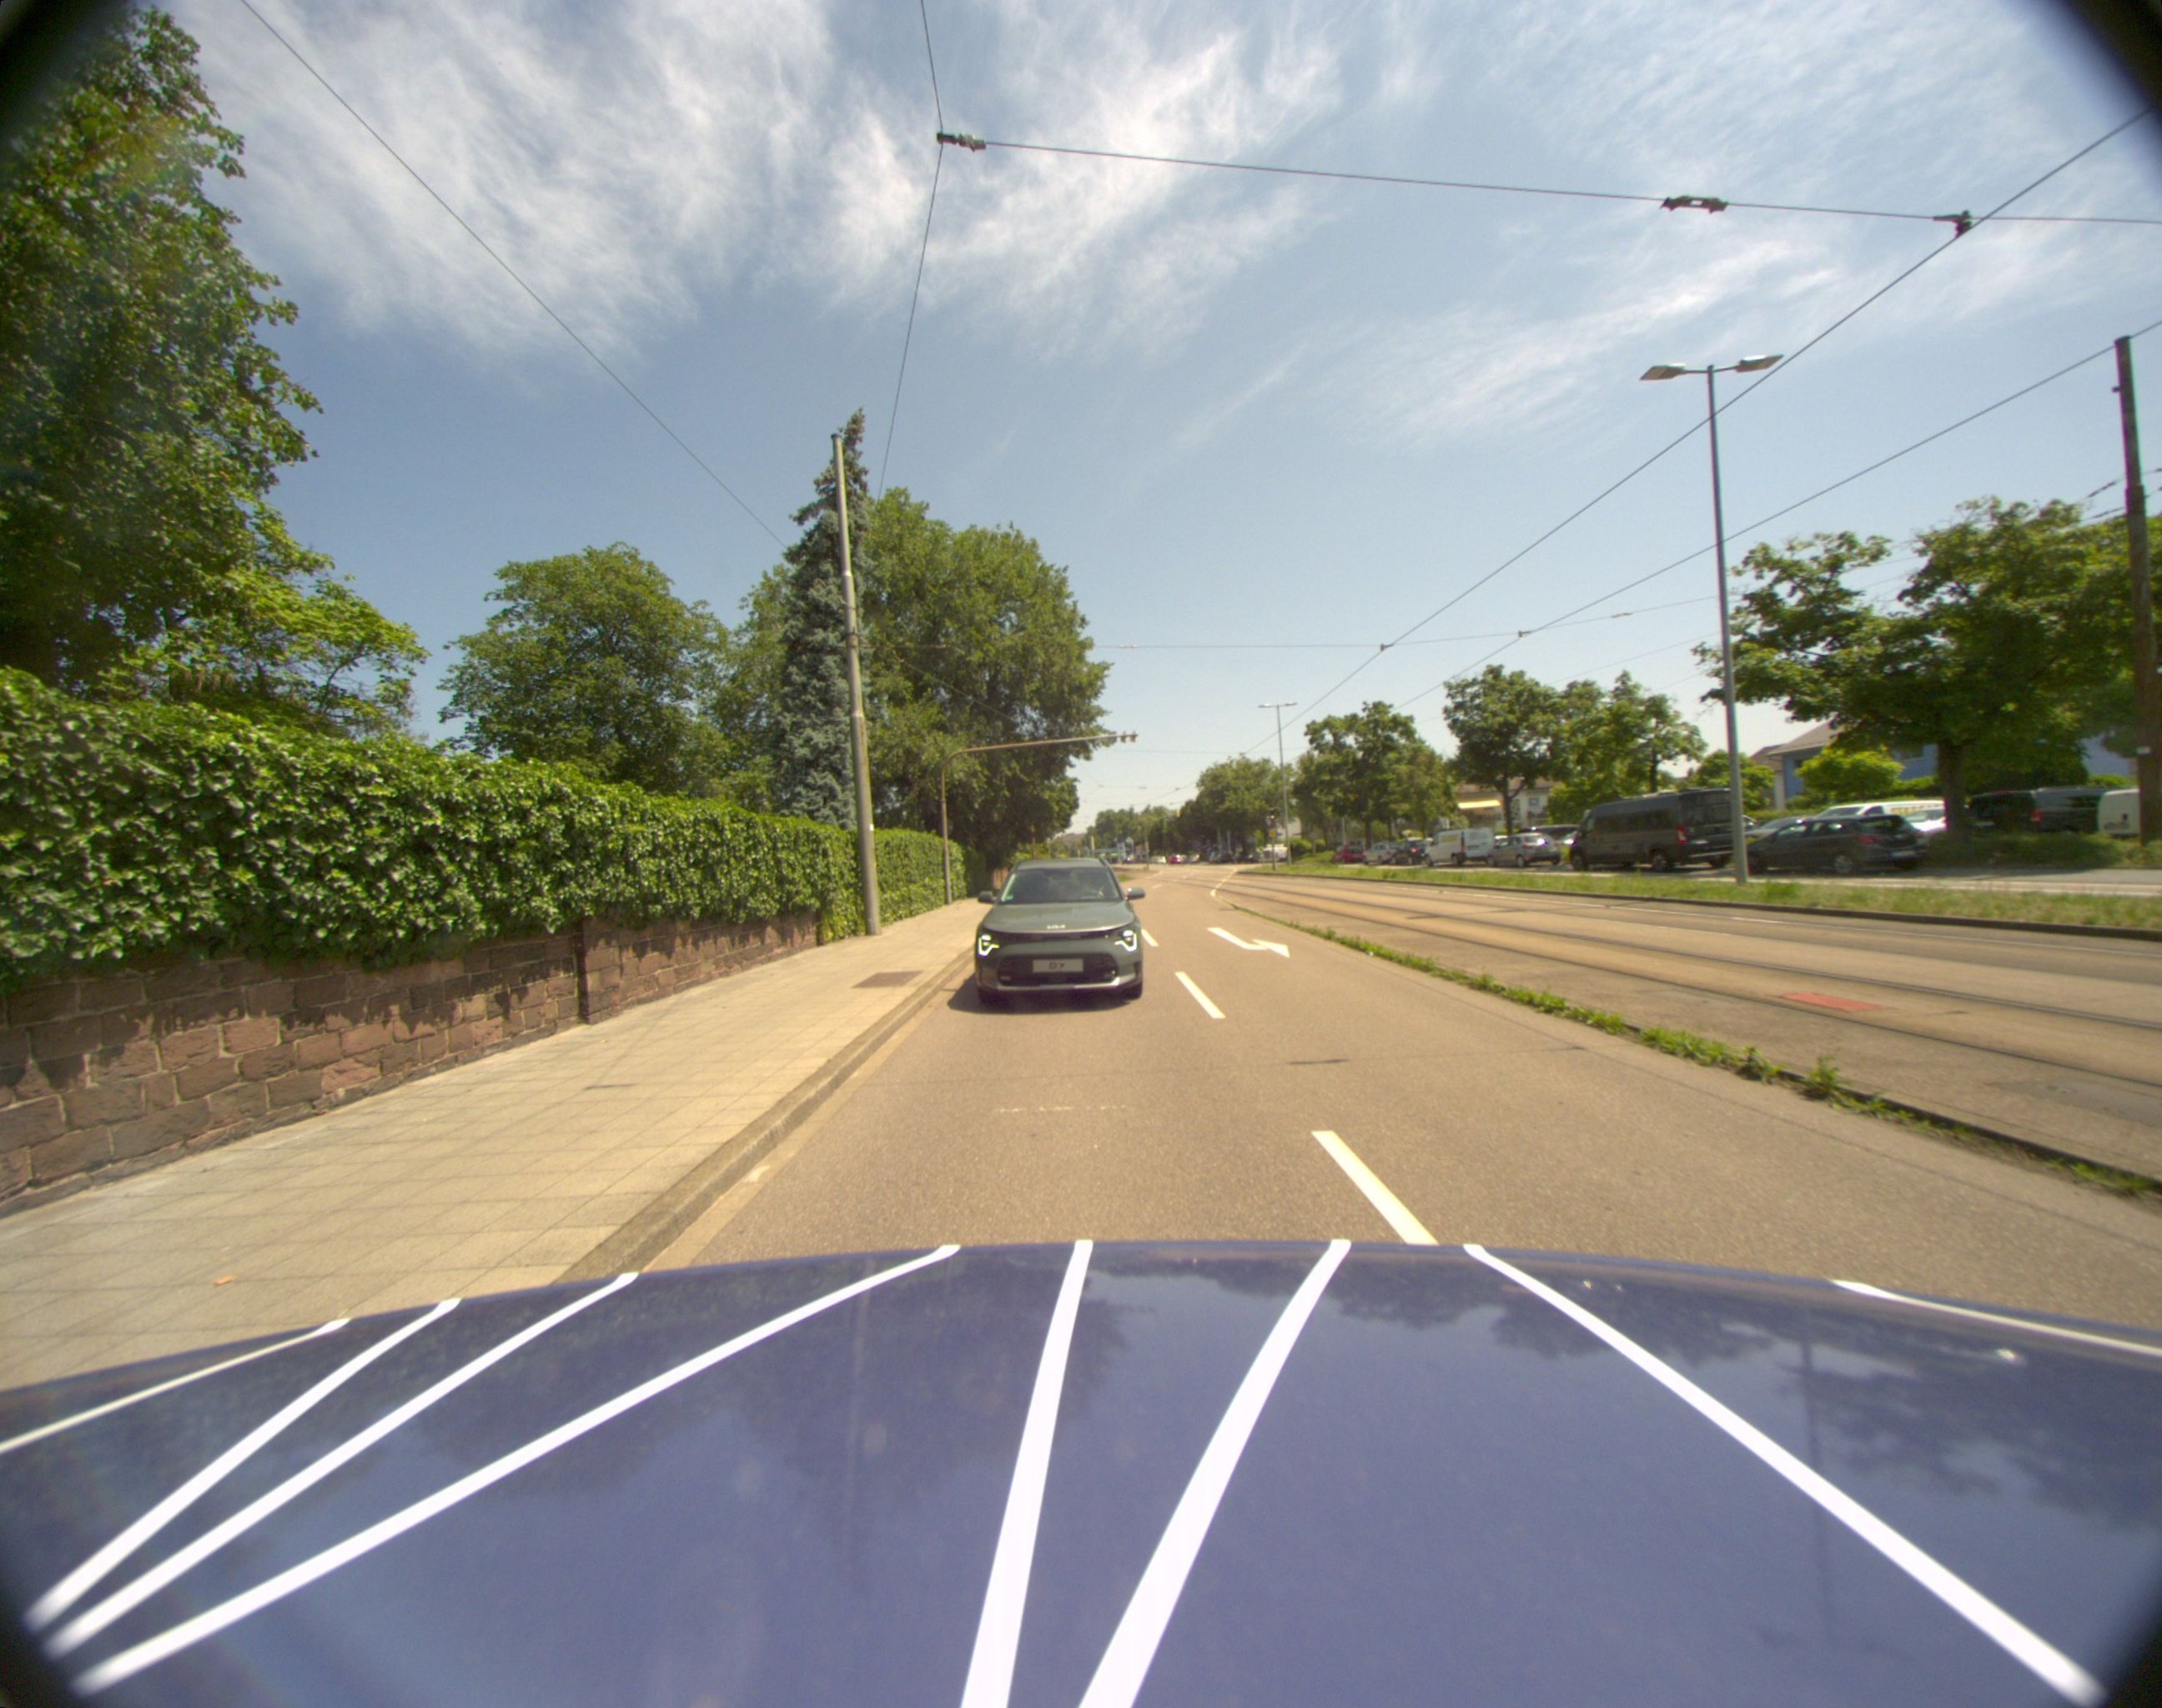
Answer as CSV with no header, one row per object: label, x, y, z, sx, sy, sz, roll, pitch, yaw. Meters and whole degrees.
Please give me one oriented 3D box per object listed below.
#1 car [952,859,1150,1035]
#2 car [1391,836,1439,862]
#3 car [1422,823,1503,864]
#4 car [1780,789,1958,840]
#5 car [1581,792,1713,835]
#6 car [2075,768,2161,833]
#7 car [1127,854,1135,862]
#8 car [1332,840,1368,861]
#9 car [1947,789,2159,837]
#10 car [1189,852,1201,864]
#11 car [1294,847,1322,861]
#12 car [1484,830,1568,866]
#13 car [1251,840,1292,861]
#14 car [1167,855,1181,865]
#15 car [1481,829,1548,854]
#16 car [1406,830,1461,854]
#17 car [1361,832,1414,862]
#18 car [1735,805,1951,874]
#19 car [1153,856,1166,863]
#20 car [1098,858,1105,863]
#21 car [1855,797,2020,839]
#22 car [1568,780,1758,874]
car,-0.314,0.919,9.529,1.824,1.577,4.287,-4,0,-1
car,20.041,-0.320,45.736,1.429,1.470,3.262,-3,1,0
car,20.072,-0.553,40.235,1.924,1.937,4.816,-3,1,2
car,30.761,-1.506,29.759,4.926,1.568,1.999,-4,0,-2
car,30.095,-2.131,40.532,5.434,1.945,2.029,-3,1,2
car,31.201,-1.597,21.482,3.998,1.708,1.797,-4,0,-4
car,12.783,1.129,195.211,1.780,1.907,3.754,-3,1,2
car,20.181,-0.290,57.173,1.582,1.471,3.423,-3,1,2
car,30.568,-1.274,23.988,4.261,1.137,2.032,-4,0,-4
car,20.084,0.683,134.018,1.703,1.842,3.983,-3,1,2
car,20.638,-0.021,69.064,1.582,1.152,3.423,-3,1,2
car,20.117,-0.293,34.509,1.767,1.456,3.608,-3,1,2
car,20.749,-0.382,82.768,4.206,1.979,1.823,-2,1,15
car,15.036,1.001,123.068,1.820,1.471,3.423,-3,1,2
car,32.273,-0.909,56.606,3.999,1.675,1.715,-3,1,-6
car,30.789,-1.025,66.488,3.999,1.863,1.715,-3,1,-6
car,20.303,-0.480,50.508,1.635,1.882,4.496,-3,1,0
car,19.928,-0.378,20.141,1.976,1.568,3.751,-3,1,1
car,14.667,1.010,141.942,1.781,1.310,3.752,-3,1,-6
car,6.687,2.228,246.549,1.759,1.543,3.999,-4,0,-2
car,30.202,-1.250,26.859,3.998,1.137,1.734,-4,0,-4
car,19.810,-0.873,26.327,2.244,2.822,5.667,-3,1,1
